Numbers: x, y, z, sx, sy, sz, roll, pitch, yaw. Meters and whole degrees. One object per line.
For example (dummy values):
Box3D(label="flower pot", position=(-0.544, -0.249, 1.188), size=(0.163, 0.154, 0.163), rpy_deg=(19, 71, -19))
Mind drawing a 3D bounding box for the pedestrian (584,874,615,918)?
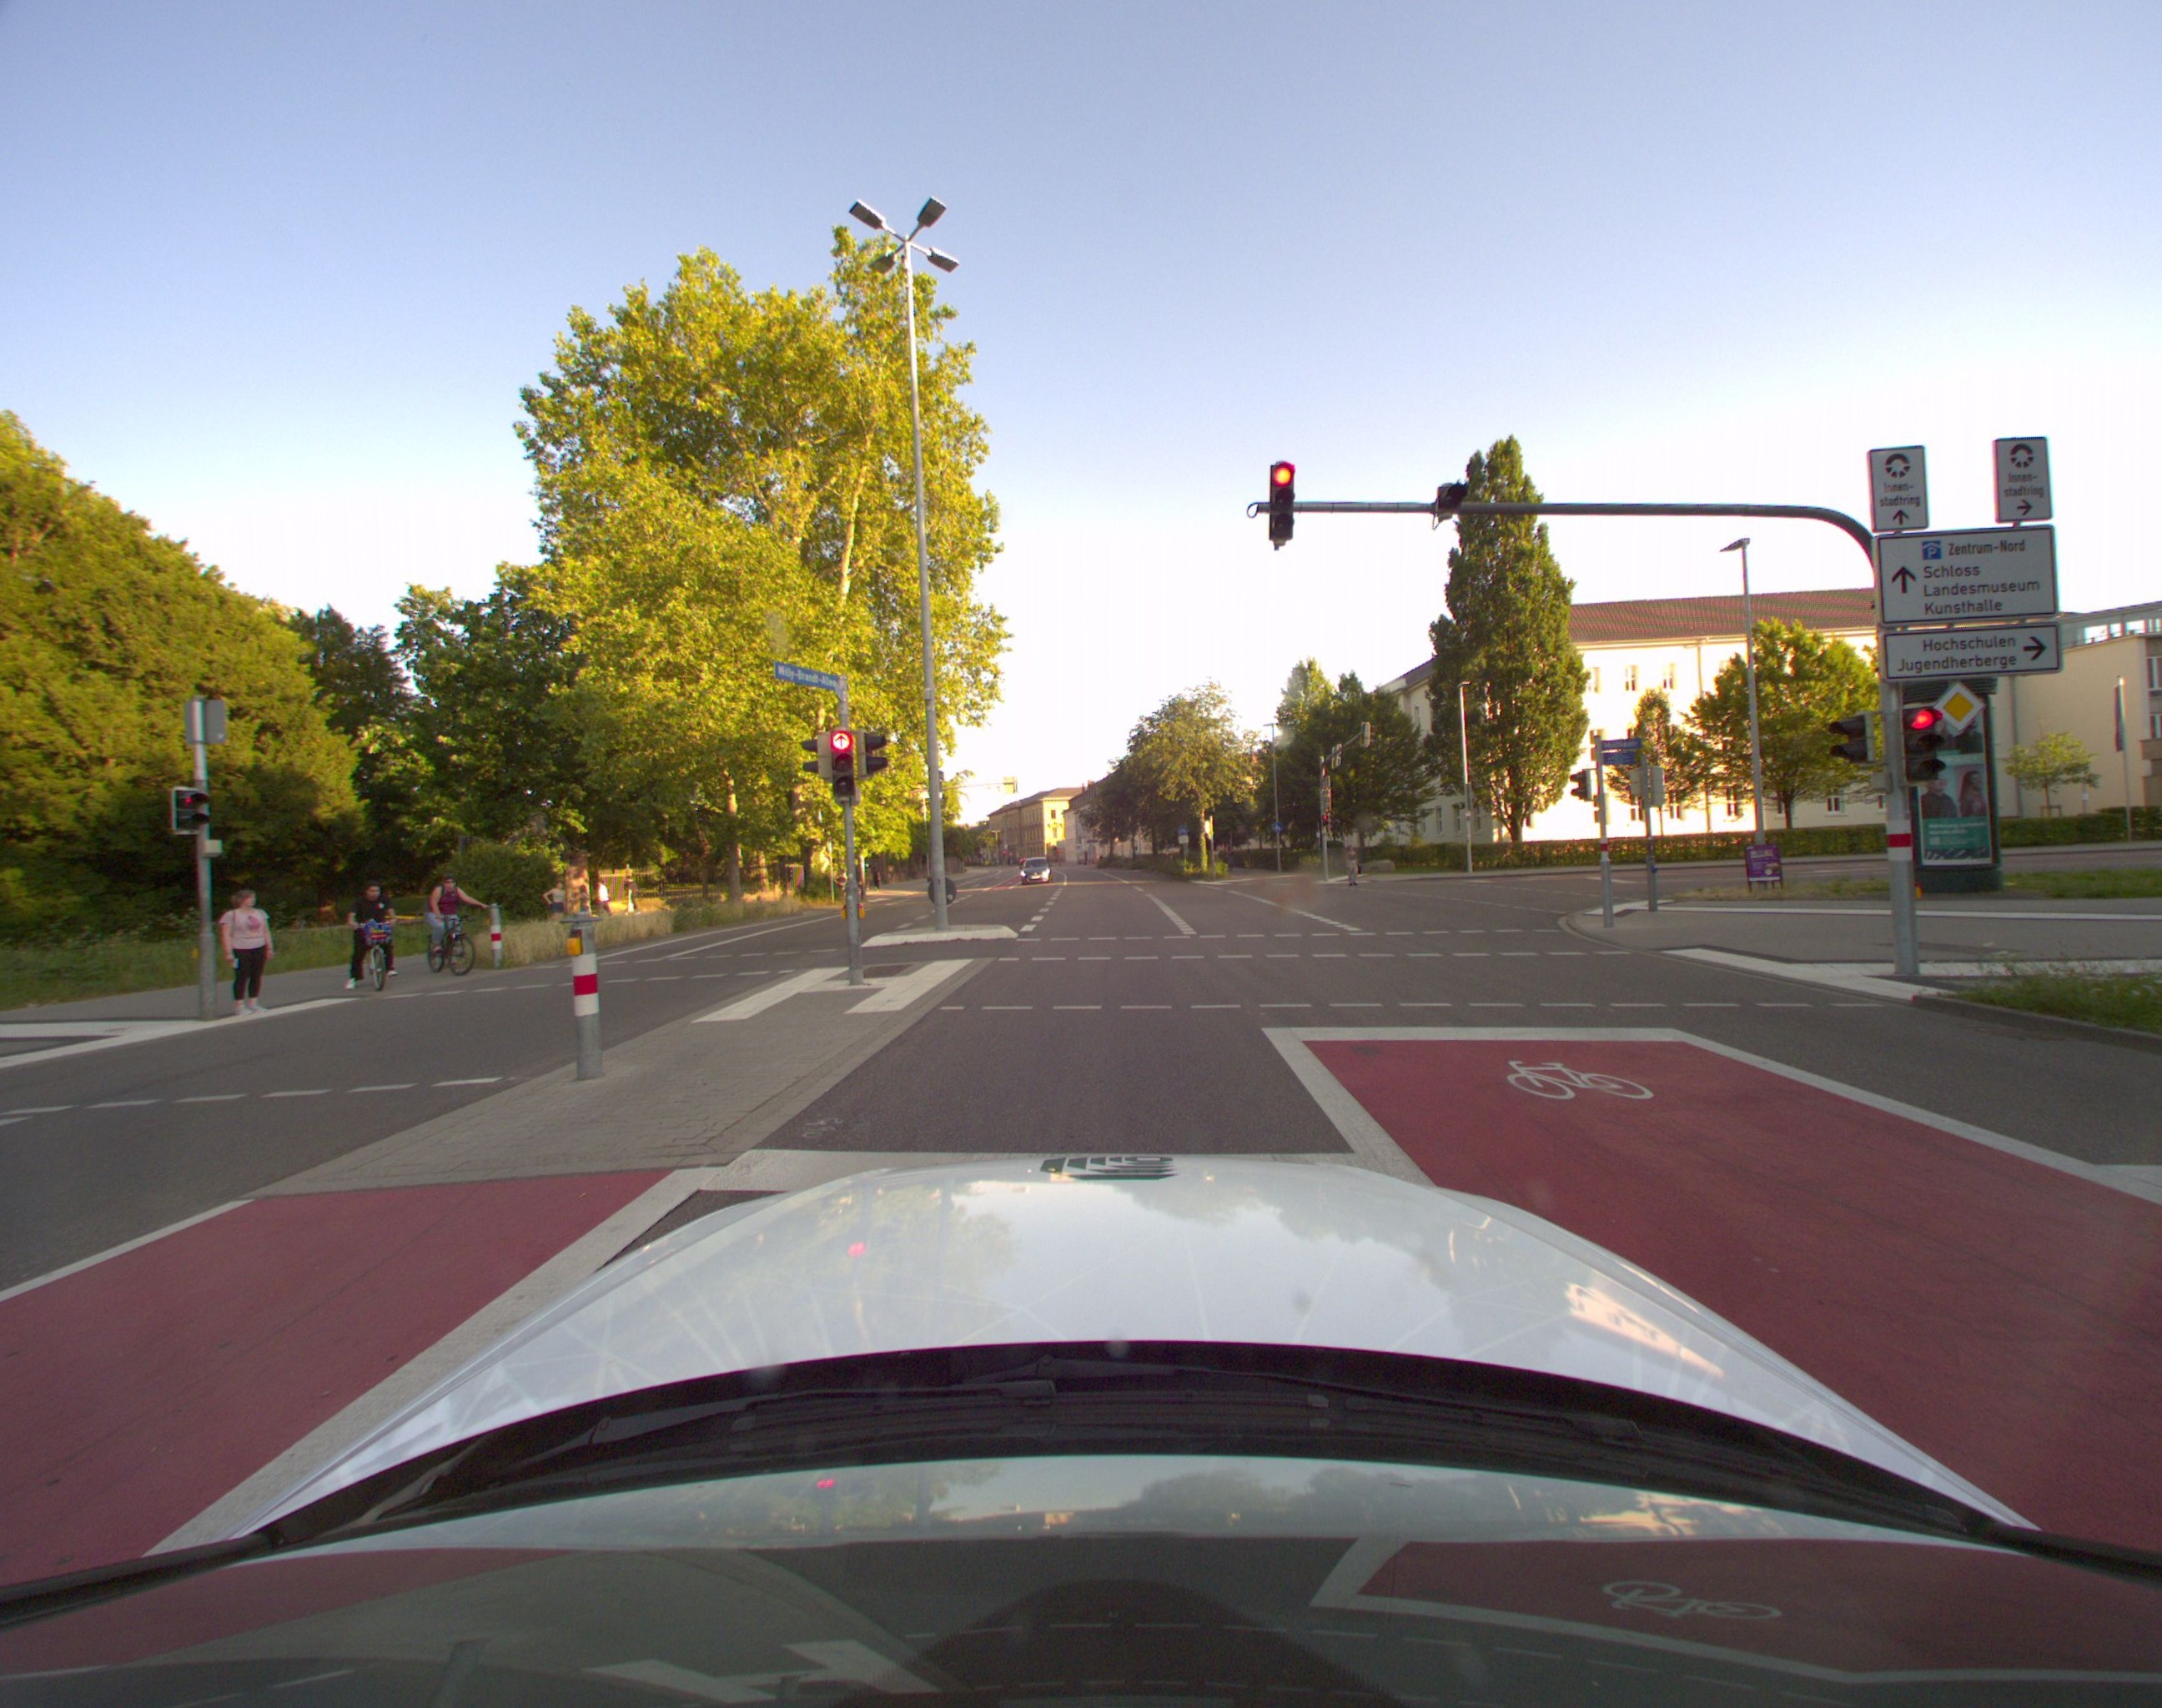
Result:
Box3D(label="pedestrian", position=(-22.994, 1.984, 38.900), size=(0.799, 2.013, 0.994), rpy_deg=(-2, 0, 1))

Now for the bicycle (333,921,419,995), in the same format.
Box3D(label="bicycle", position=(-11.836, 1.718, 13.670), size=(1.548, 1.111, 0.637), rpy_deg=(-3, 0, 32))

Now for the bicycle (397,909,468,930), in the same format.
Box3D(label="bicycle", position=(-28.022, 2.830, 35.203), size=(2.307, 0.691, 0.666), rpy_deg=(-3, 0, -12))

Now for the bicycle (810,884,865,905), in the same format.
Box3D(label="bicycle", position=(-12.172, 2.034, 40.749), size=(2.420, 0.924, 0.775), rpy_deg=(-3, 0, 2))

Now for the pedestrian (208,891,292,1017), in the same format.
Box3D(label="pedestrian", position=(-11.751, 1.391, 11.529), size=(0.604, 1.695, 0.499), rpy_deg=(-3, 0, 3))

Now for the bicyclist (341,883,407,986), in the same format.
Box3D(label="bicyclist", position=(-11.888, 1.334, 13.693), size=(0.631, 1.649, 0.634), rpy_deg=(-3, 0, 32))

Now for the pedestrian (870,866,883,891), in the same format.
Box3D(label="pedestrian", position=(-13.085, 1.556, 52.061), size=(0.597, 1.573, 0.646), rpy_deg=(-3, 0, 1))

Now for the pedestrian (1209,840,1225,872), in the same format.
Box3D(label="pedestrian", position=(8.938, 0.127, 53.552), size=(0.867, 2.013, 0.723), rpy_deg=(-2, 0, 1))

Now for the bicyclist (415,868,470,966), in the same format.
Box3D(label="bicyclist", position=(-11.992, 1.170, 15.294), size=(0.631, 1.780, 0.580), rpy_deg=(-3, 0, 32))

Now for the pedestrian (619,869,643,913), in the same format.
Box3D(label="pedestrian", position=(-21.235, 1.735, 38.448), size=(0.637, 2.013, 0.701), rpy_deg=(-3, 0, 2))

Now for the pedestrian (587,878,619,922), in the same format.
Box3D(label="pedestrian", position=(-22.889, 2.197, 39.012), size=(0.757, 2.013, 1.078), rpy_deg=(-2, 0, 4))

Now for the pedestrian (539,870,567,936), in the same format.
Box3D(label="pedestrian", position=(-16.597, 1.533, 25.585), size=(0.654, 2.013, 0.599), rpy_deg=(-1, -1, -37))

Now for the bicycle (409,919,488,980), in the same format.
Box3D(label="bicycle", position=(-11.811, 1.747, 15.192), size=(1.749, 1.030, 0.583), rpy_deg=(-3, 0, 32))

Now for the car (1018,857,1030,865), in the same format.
Box3D(label="car", position=(-11.922, 1.490, 170.335), size=(1.821, 1.588, 3.983), rpy_deg=(-4, 0, -12))

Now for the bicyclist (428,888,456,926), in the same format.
Box3D(label="bicyclist", position=(-27.686, 2.279, 35.276), size=(0.646, 1.558, 0.689), rpy_deg=(-3, 0, -12))

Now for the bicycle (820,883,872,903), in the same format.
Box3D(label="bicycle", position=(-12.266, 2.043, 42.509), size=(2.420, 0.924, 0.775), rpy_deg=(-3, 0, 2))

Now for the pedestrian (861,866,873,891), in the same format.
Box3D(label="pedestrian", position=(-13.720, 1.574, 52.154), size=(0.533, 1.596, 0.591), rpy_deg=(-3, 0, 1))

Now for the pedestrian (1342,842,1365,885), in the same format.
Box3D(label="pedestrian", position=(10.579, 0.360, 31.593), size=(0.598, 1.636, 0.691), rpy_deg=(-2, 0, -3))

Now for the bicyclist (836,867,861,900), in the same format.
Box3D(label="bicyclist", position=(-12.135, 1.546, 42.510), size=(0.954, 1.631, 0.753), rpy_deg=(-3, 0, 2))

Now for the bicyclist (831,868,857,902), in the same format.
Box3D(label="bicyclist", position=(-11.858, 1.530, 40.747), size=(0.954, 1.631, 0.753), rpy_deg=(-3, 0, 2))

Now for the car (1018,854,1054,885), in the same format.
Box3D(label="car", position=(-2.728, 0.898, 49.875), size=(1.843, 1.720, 4.296), rpy_deg=(-3, 0, 0))

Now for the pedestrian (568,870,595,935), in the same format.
Box3D(label="pedestrian", position=(-15.734, 1.514, 25.643), size=(0.598, 2.013, 0.634), rpy_deg=(-1, -1, -38))

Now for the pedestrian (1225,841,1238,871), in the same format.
Box3D(label="pedestrian", position=(9.990, 0.136, 54.078), size=(0.633, 2.013, 0.720), rpy_deg=(-2, 0, -2))
